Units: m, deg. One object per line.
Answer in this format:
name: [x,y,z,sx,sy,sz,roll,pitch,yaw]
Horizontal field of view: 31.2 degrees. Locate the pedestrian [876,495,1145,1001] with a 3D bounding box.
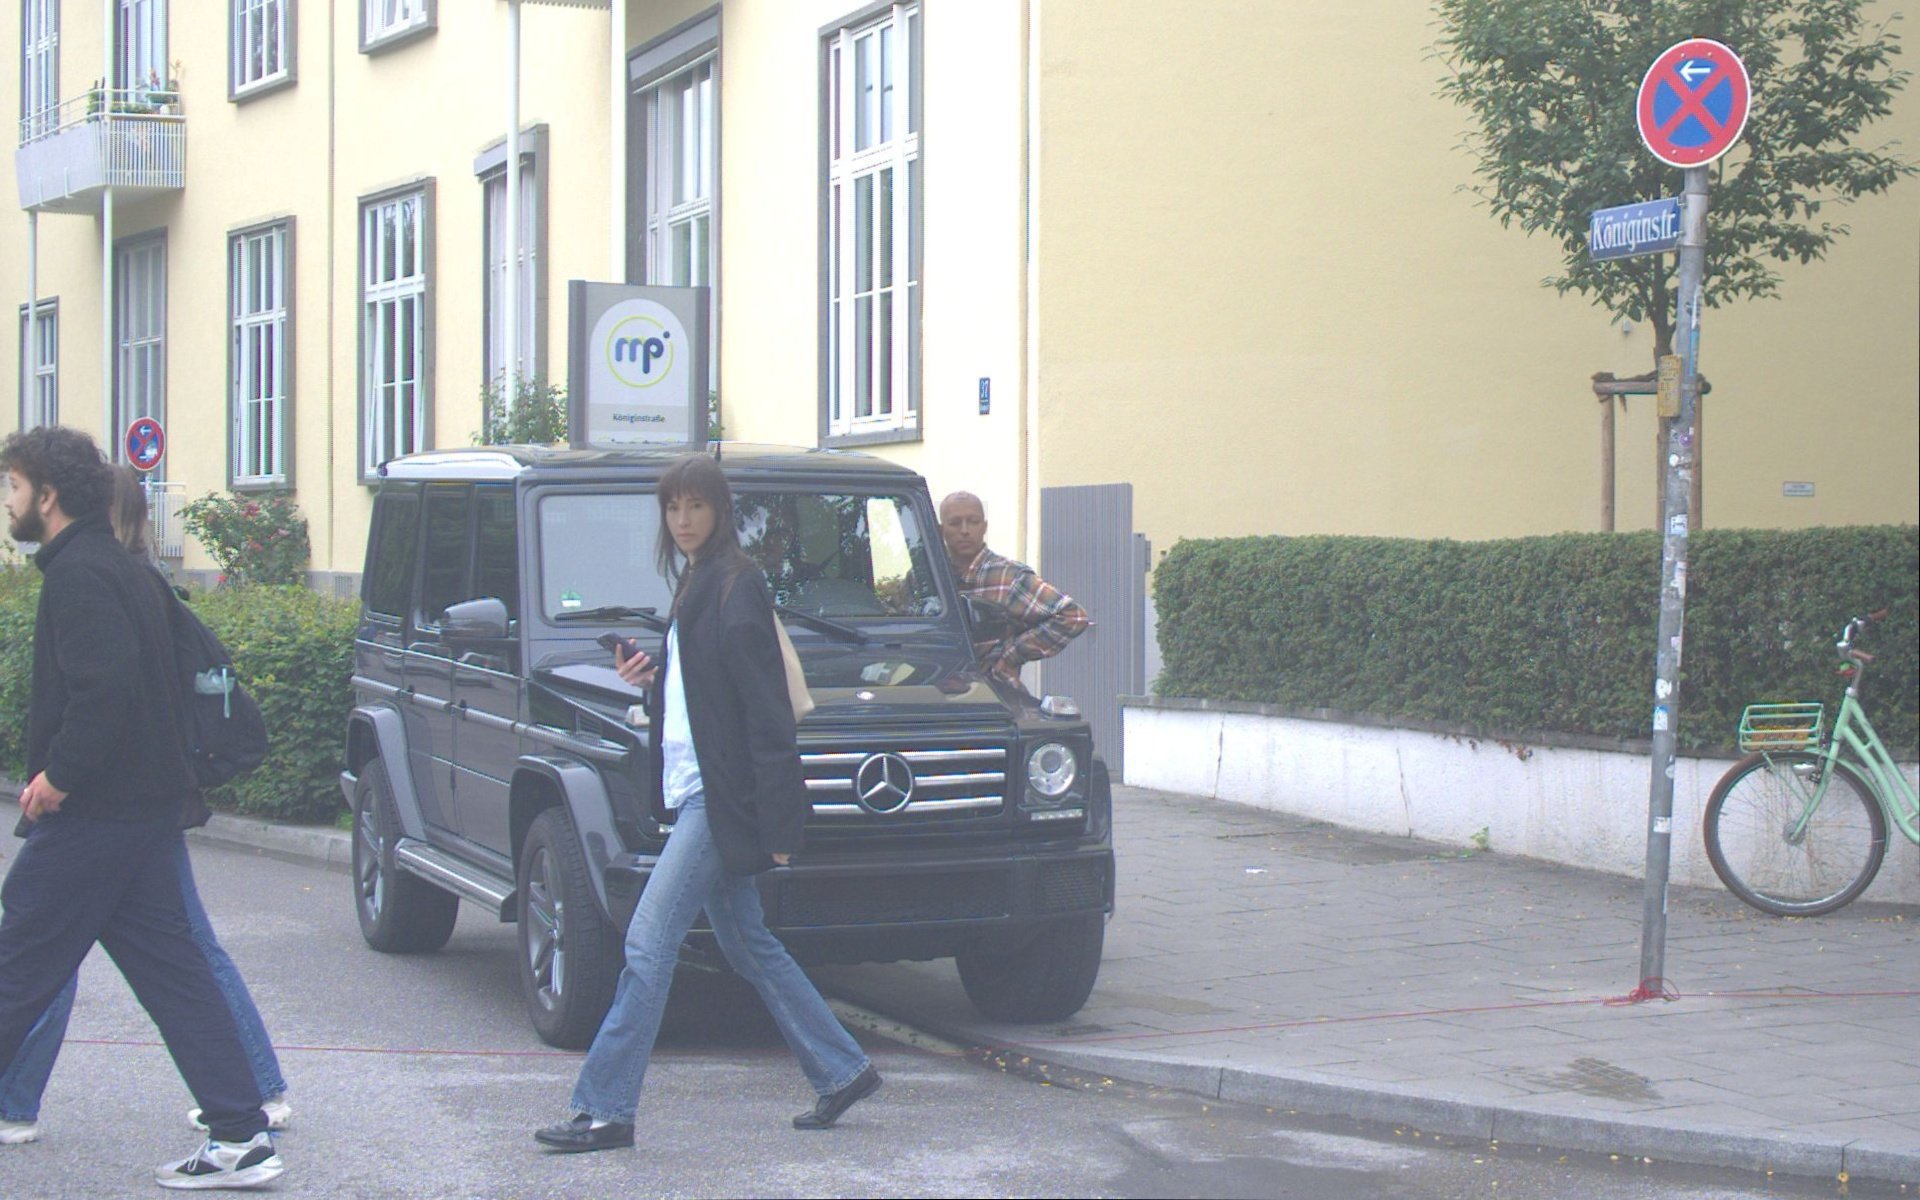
pedestrian: [0.167,0.503,12.456,0.848,1.751,0.954,-1,1,-6]

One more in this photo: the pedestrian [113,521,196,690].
pedestrian: [-8.165,0.048,34.843,0.631,1.678,0.698,-2,1,-28]

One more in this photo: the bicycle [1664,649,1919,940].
bicycle: [3.707,0.729,13.061,1.947,1.081,0.528,-2,-1,35]

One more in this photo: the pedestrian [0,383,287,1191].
pedestrian: [-2.160,0.416,8.045,0.990,1.803,0.659,0,1,5]

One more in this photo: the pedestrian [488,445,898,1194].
pedestrian: [-0.714,0.538,9.040,0.850,1.851,0.767,-1,1,-21]

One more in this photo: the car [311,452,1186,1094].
car: [-1.002,0.457,12.558,1.873,1.881,4.620,-1,1,-21]

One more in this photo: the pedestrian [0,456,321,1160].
pedestrian: [-2.154,0.507,8.879,0.826,1.740,0.740,0,1,4]
